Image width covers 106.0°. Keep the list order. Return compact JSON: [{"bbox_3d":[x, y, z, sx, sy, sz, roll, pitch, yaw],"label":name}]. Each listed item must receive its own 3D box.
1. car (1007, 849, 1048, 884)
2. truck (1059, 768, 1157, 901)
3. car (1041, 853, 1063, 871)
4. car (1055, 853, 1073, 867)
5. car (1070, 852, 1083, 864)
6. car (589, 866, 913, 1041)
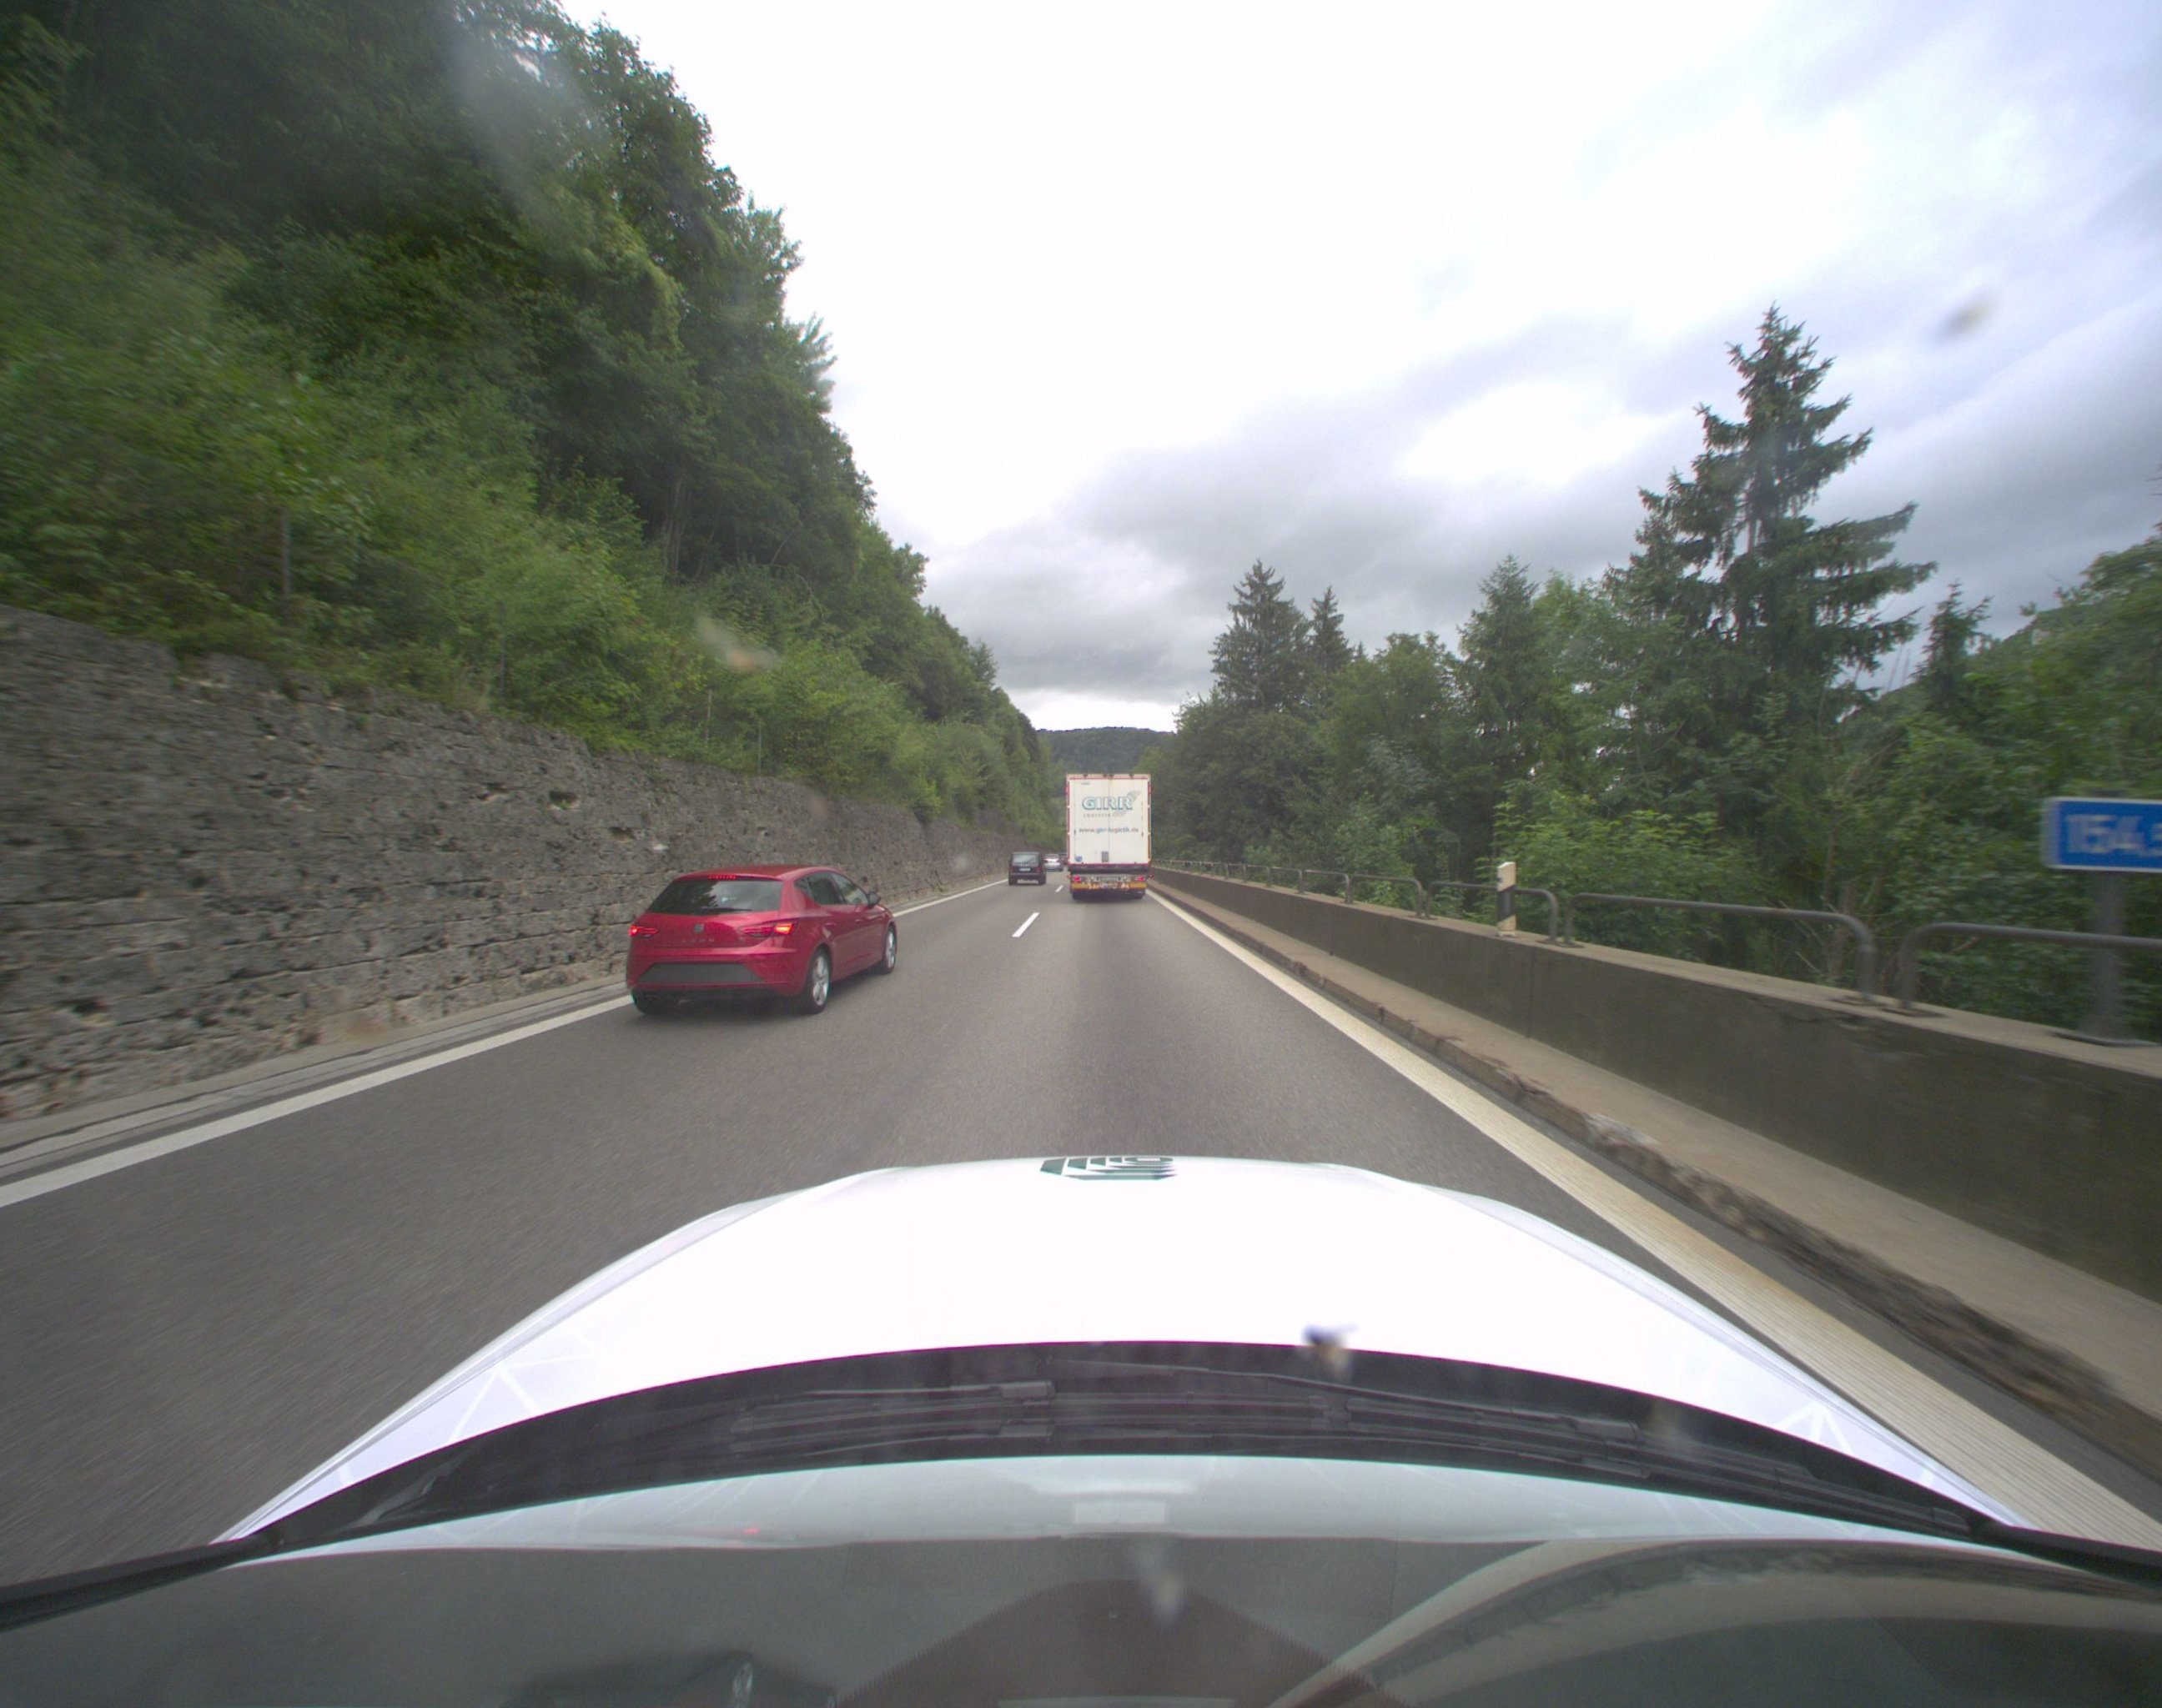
[{"bbox_3d":[-2.589,0.586,40.478,1.663,1.639,4.069,-1,-1,1],"label":"car"},{"bbox_3d":[0.942,-0.552,29.018,2.898,3.960,9.282,0,0,2],"label":"truck"},{"bbox_3d":[-2.459,0.693,69.968,1.723,1.486,4.000,0,-1,1],"label":"car"},{"bbox_3d":[-1.919,0.656,94.979,1.910,1.595,4.179,0,-1,1],"label":"car"},{"bbox_3d":[-0.664,0.690,135.360,1.986,2.014,4.002,0,-1,2],"label":"car"},{"bbox_3d":[-3.301,0.890,9.223,1.760,1.460,4.412,-1,-1,2],"label":"car"}]
